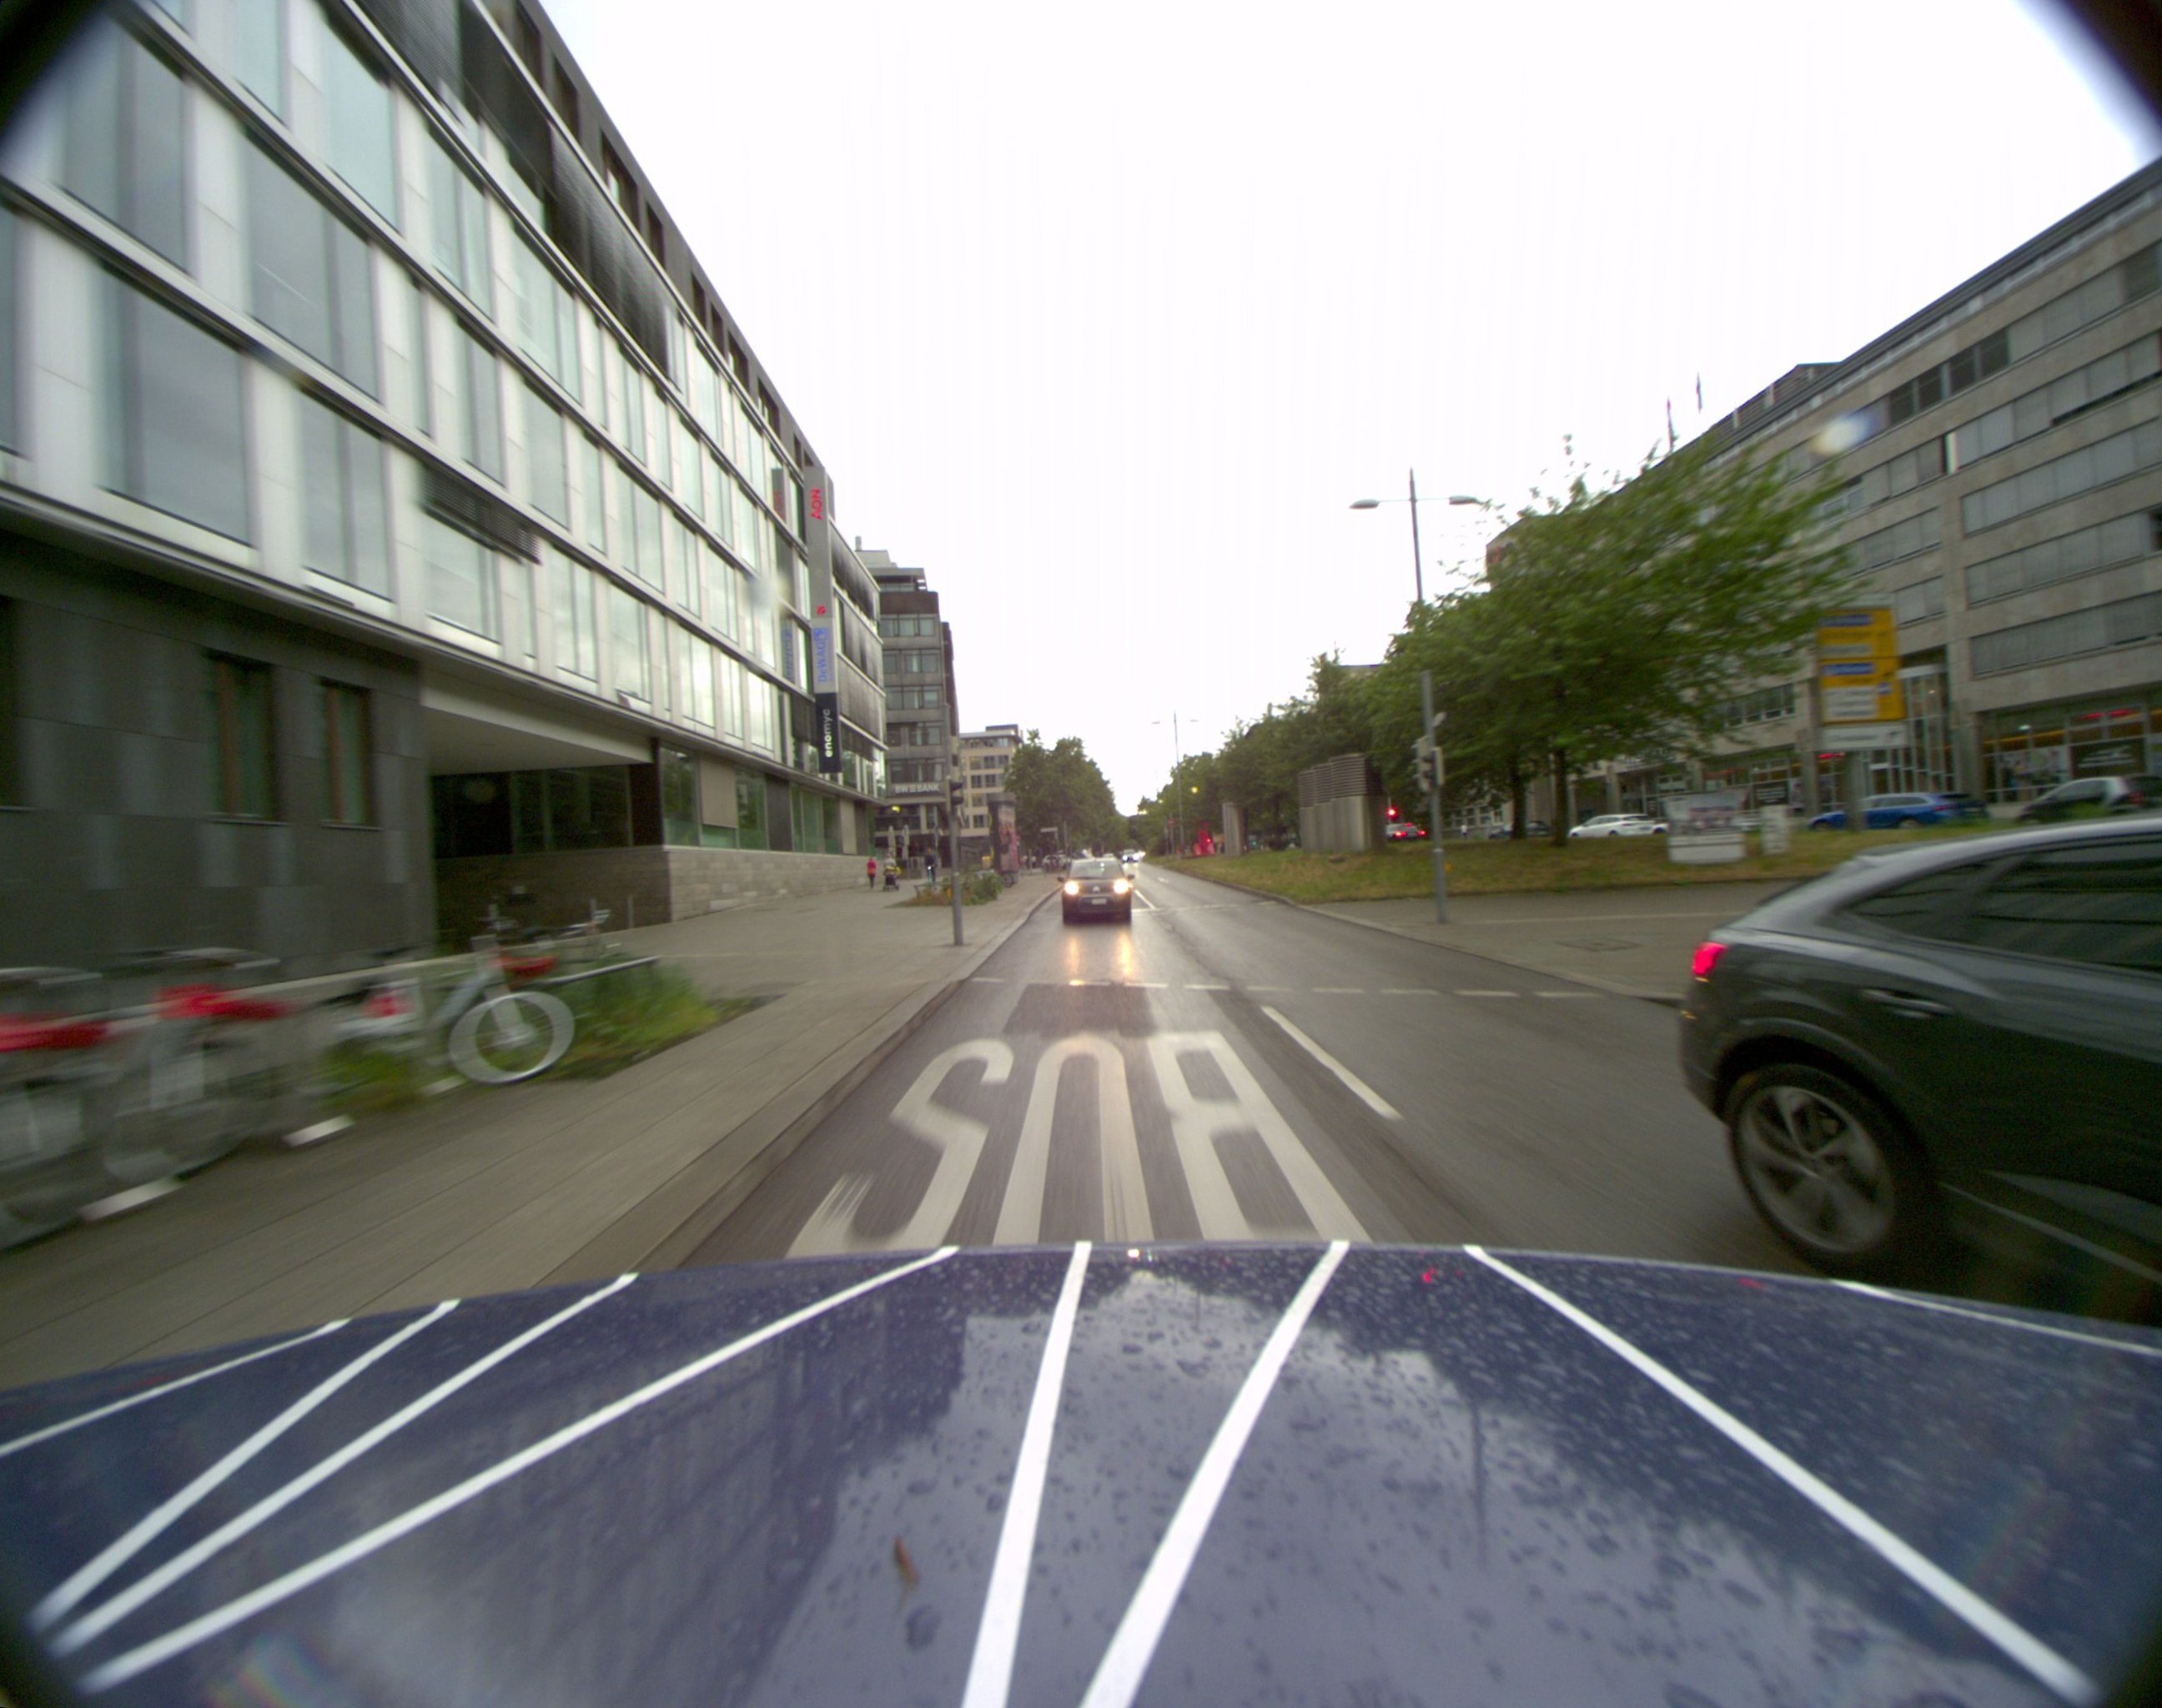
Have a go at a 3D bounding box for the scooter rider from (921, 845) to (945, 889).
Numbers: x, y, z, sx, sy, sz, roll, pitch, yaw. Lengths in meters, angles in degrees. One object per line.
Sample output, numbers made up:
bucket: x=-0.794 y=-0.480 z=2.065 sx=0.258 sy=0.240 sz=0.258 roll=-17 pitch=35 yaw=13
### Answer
scooter rider: x=-6.877 y=0.590 z=35.411 sx=0.779 sy=2.009 sz=0.924 roll=-3 pitch=1 yaw=4

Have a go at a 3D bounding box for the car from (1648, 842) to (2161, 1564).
car: x=3.283 y=0.787 z=0.997 sx=1.865 sy=1.509 sz=4.345 roll=-4 pitch=1 yaw=2

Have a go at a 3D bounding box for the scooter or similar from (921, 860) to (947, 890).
scooter or similar: x=-6.849 y=0.970 z=35.443 sx=0.779 sy=1.298 sz=1.335 roll=-3 pitch=1 yaw=4

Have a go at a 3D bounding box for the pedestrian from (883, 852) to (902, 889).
pedestrian: x=-9.491 y=0.799 z=38.200 sx=0.723 sy=1.820 sz=0.746 roll=-2 pitch=1 yaw=-2

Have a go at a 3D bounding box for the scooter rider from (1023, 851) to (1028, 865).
scooter rider: x=-7.965 y=0.532 z=109.572 sx=0.627 sy=2.013 sz=0.854 roll=-3 pitch=1 yaw=-2

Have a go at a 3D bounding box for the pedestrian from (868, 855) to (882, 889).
pedestrian: x=-10.364 y=0.891 z=38.183 sx=0.485 sy=1.689 sz=0.579 roll=-2 pitch=1 yaw=-2

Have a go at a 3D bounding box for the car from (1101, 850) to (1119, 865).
car: x=3.579 y=0.427 z=94.626 sx=2.072 sy=1.578 sz=4.107 roll=-5 pitch=1 yaw=1

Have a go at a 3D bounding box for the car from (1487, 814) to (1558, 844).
car: x=26.466 y=-1.457 z=45.676 sx=1.575 sy=1.571 sz=4.106 roll=-5 pitch=1 yaw=-4

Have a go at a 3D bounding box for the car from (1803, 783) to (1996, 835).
car: x=27.618 y=-1.454 z=25.893 sx=1.680 sy=1.377 sz=4.319 roll=-5 pitch=1 yaw=-4

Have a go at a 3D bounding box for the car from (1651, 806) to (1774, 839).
car: x=26.885 y=-1.299 z=32.543 sx=1.575 sy=1.116 sz=4.106 roll=-5 pitch=1 yaw=-4

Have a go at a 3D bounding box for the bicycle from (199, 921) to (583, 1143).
bicycle: x=-4.406 y=1.102 z=4.973 sx=1.735 sy=1.176 sz=0.689 roll=-3 pitch=1 yaw=-6

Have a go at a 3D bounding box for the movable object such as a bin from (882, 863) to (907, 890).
movable object such as a bin: x=-9.055 y=1.082 z=36.959 sx=0.804 sy=1.258 sz=1.787 roll=-2 pitch=1 yaw=-2

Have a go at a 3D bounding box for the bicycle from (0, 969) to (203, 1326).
bicycle: x=-4.793 y=1.142 z=2.965 sx=1.735 sy=1.176 sz=0.689 roll=-3 pitch=1 yaw=-6

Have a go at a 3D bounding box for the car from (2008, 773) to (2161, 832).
car: x=27.832 y=-1.383 z=20.946 sx=1.243 sy=1.377 sz=2.627 roll=-5 pitch=1 yaw=0

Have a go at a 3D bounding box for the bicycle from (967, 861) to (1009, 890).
bicycle: x=-4.127 y=0.962 z=33.786 sx=1.797 sy=1.200 sz=0.669 roll=-2 pitch=1 yaw=-6

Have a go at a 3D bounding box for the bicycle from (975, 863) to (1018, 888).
bicycle: x=-3.956 y=0.990 z=35.617 sx=1.876 sy=1.103 sz=0.669 roll=-2 pitch=1 yaw=1

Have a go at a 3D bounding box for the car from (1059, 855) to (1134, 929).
car: x=0.396 y=0.849 z=18.734 sx=1.594 sy=1.501 sz=3.709 roll=-4 pitch=1 yaw=2

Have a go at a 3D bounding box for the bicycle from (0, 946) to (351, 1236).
bicycle: x=-4.894 y=1.135 z=3.763 sx=1.735 sy=1.176 sz=0.689 roll=-3 pitch=1 yaw=-6

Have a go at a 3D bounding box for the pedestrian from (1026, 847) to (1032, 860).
pedestrian: x=-6.641 y=-0.066 z=96.976 sx=0.551 sy=1.692 sz=0.547 roll=-3 pitch=2 yaw=1

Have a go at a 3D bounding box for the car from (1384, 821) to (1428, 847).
car: x=19.795 y=-1.201 z=46.366 sx=1.411 sy=1.377 sz=2.627 roll=-5 pitch=1 yaw=0

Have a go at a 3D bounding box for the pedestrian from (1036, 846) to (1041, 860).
pedestrian: x=-5.418 y=-0.131 z=97.082 sx=0.452 sy=1.692 sz=0.497 roll=-3 pitch=2 yaw=1

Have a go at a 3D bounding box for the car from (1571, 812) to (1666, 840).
car: x=26.665 y=-1.377 z=37.896 sx=1.575 sy=1.116 sz=4.106 roll=-5 pitch=1 yaw=-4

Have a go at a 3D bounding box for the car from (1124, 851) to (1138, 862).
car: x=6.801 y=0.322 z=102.751 sx=1.605 sy=1.377 sz=3.019 roll=-5 pitch=1 yaw=0

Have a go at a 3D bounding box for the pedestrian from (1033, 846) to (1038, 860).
pedestrian: x=-5.824 y=-0.109 z=97.044 sx=0.452 sy=1.692 sz=0.497 roll=-3 pitch=2 yaw=1

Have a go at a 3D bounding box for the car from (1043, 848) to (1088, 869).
car: x=-1.665 y=0.482 z=81.266 sx=4.202 sy=1.802 sz=2.003 roll=-5 pitch=1 yaw=35

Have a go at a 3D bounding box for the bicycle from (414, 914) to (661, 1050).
bicycle: x=-5.065 y=1.171 z=7.177 sx=1.735 sy=1.064 sz=0.689 roll=-3 pitch=1 yaw=-6

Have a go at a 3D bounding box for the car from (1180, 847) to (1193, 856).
car: x=22.410 y=-0.555 z=161.727 sx=2.072 sy=1.578 sz=4.107 roll=-5 pitch=1 yaw=1

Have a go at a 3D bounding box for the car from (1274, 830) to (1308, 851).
car: x=18.704 y=-1.189 z=67.866 sx=1.880 sy=1.571 sz=4.107 roll=-5 pitch=1 yaw=1
